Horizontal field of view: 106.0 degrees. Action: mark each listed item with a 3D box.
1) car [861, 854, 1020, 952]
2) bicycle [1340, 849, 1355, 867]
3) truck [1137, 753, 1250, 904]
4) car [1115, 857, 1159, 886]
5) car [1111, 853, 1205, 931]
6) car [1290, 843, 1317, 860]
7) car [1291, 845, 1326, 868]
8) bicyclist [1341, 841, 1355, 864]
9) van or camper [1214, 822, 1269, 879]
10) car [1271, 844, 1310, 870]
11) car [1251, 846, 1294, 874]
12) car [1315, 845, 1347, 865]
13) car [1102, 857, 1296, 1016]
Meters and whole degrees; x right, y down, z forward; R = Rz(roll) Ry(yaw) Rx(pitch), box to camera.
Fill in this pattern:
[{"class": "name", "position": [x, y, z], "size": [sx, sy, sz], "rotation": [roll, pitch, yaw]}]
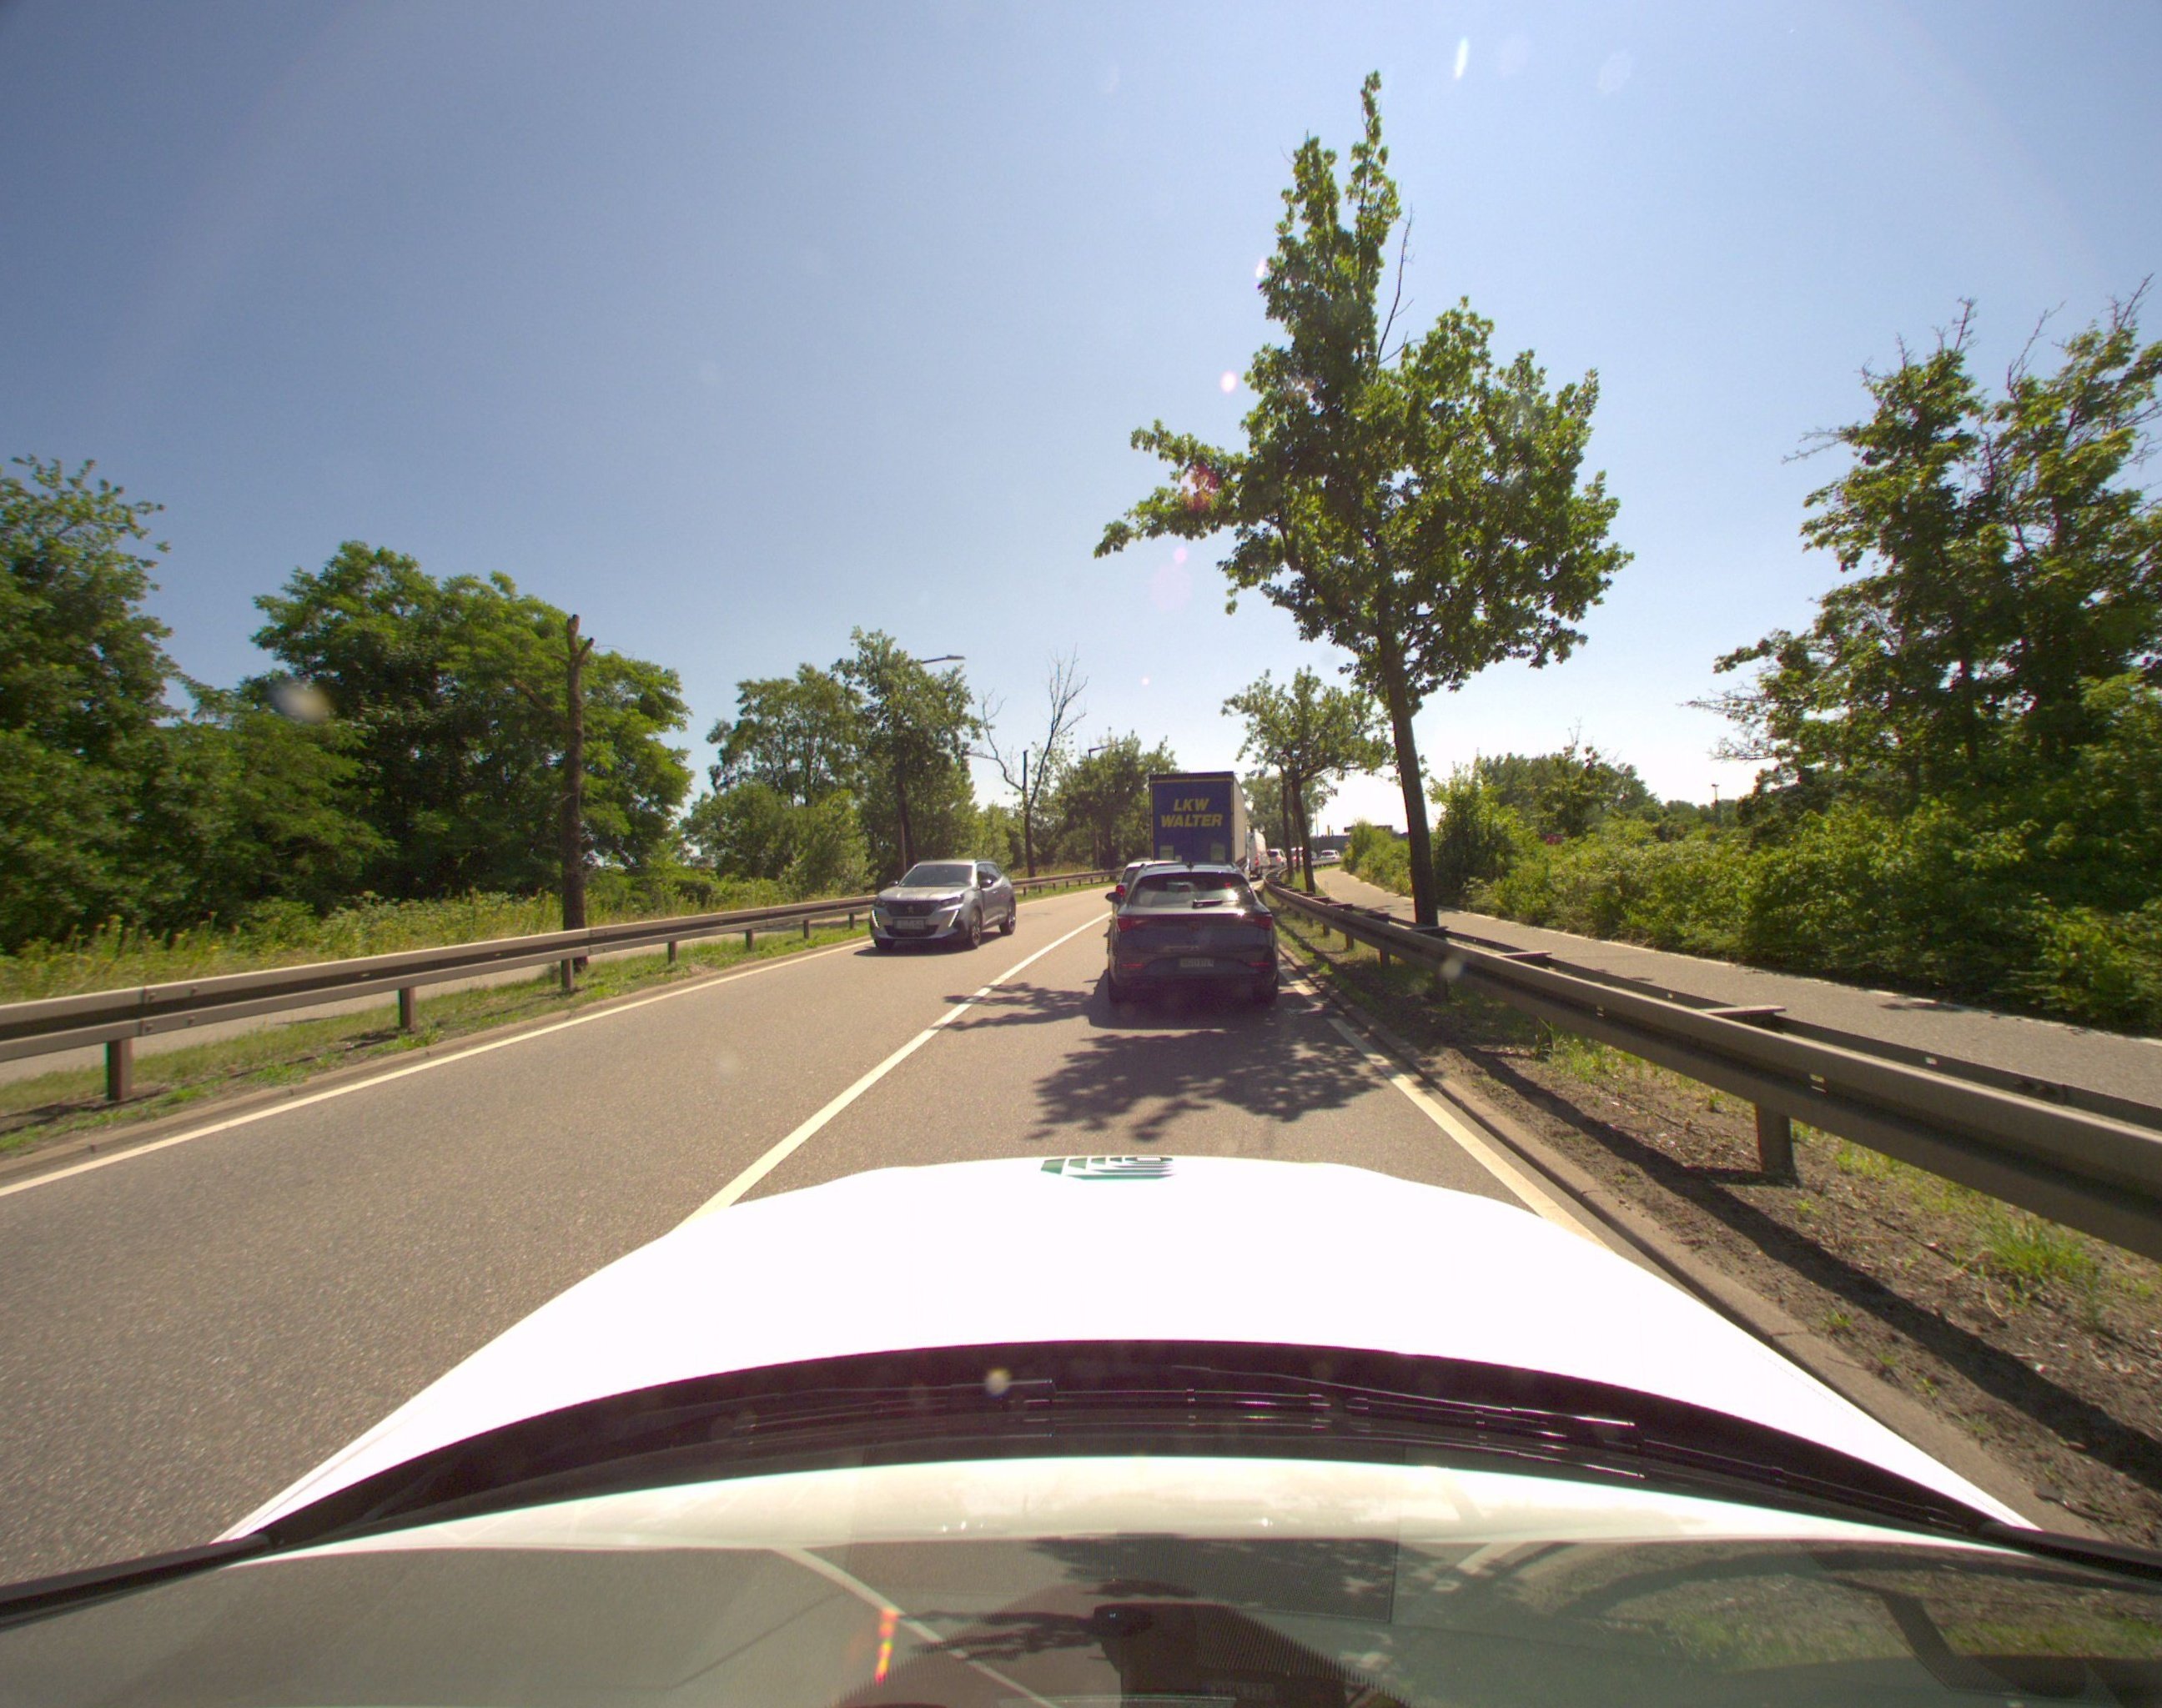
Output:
[{"class": "car", "position": [-2.425, 0.801, 15.130], "size": [1.740, 1.555, 4.135], "rotation": [-1, 0, 7]}, {"class": "bicycle", "position": [18.646, 0.292, 56.946], "size": [0.853, 1.237, 2.322], "rotation": [-1, 0, 22]}, {"class": "truck", "position": [5.033, -0.724, 32.490], "size": [2.929, 4.449, 16.857], "rotation": [-1, 0, 13]}, {"class": "car", "position": [2.825, 0.844, 40.479], "size": [1.546, 1.372, 3.902], "rotation": [-1, 0, 13]}, {"class": "car", "position": [1.656, 0.749, 17.887], "size": [1.801, 1.508, 4.004], "rotation": [-1, 0, 4]}, {"class": "car", "position": [21.729, -0.249, 79.495], "size": [1.733, 1.555, 4.151], "rotation": [-1, 0, 27]}, {"class": "car", "position": [18.655, 0.197, 66.634], "size": [1.976, 1.717, 4.896], "rotation": [-1, 0, 24]}, {"class": "bicyclist", "position": [18.634, -0.104, 56.881], "size": [0.853, 1.523, 0.985], "rotation": [-1, -1, 21]}, {"class": "van or camper", "position": [9.119, -0.175, 45.871], "size": [2.447, 2.998, 6.112], "rotation": [-1, 0, 16]}, {"class": "car", "position": [15.458, 0.193, 59.967], "size": [1.976, 1.808, 4.873], "rotation": [-1, 0, 24]}, {"class": "car", "position": [12.698, 0.392, 53.724], "size": [1.976, 1.712, 4.645], "rotation": [-1, 0, 23]}, {"class": "car", "position": [22.705, 0.102, 73.877], "size": [1.975, 1.768, 4.782], "rotation": [-1, 0, 26]}, {"class": "car", "position": [1.209, 0.766, 9.380], "size": [1.736, 1.432, 3.884], "rotation": [-1, 0, 4]}]
